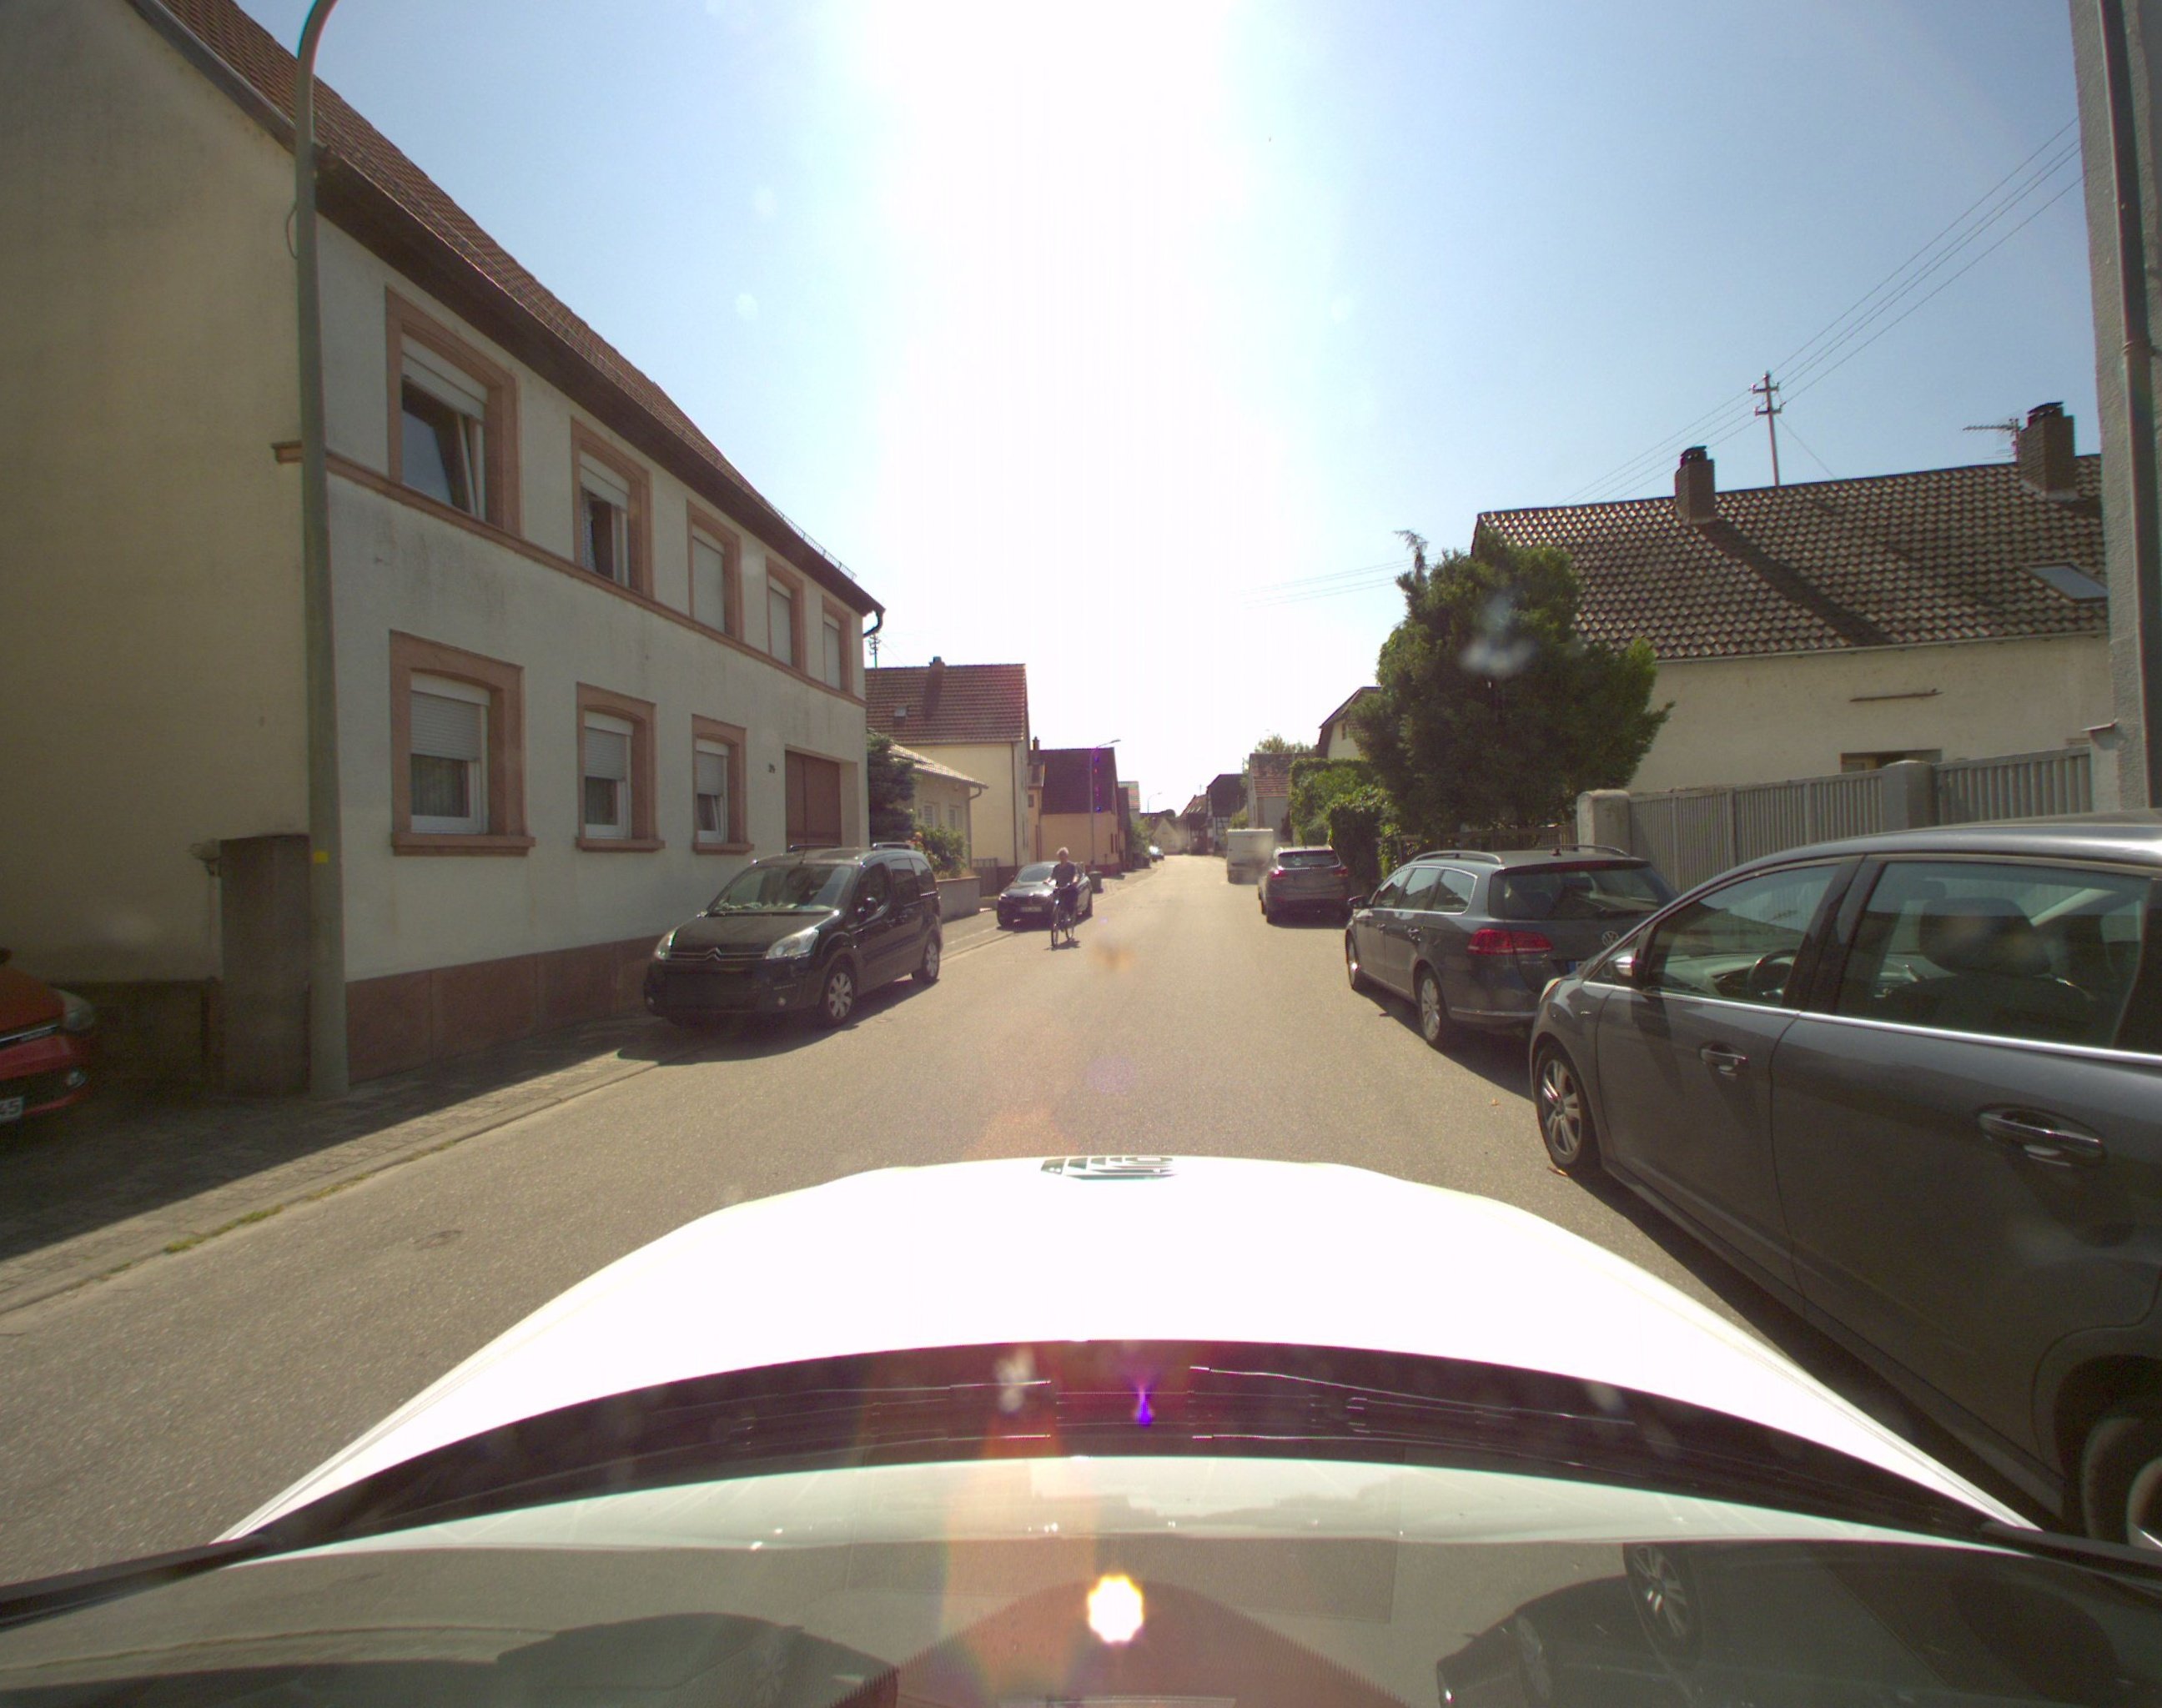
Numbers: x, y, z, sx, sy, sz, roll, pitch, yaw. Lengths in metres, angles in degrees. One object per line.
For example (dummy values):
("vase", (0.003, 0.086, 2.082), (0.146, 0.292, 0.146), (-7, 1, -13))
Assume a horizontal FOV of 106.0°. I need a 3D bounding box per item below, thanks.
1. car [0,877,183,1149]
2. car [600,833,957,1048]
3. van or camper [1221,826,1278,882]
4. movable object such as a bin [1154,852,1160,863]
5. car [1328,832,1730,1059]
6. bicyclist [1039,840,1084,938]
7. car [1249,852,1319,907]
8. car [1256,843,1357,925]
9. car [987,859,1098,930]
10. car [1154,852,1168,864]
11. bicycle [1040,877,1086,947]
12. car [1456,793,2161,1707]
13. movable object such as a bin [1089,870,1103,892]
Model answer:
("car", (-7.765, 0.939, 4.740), (3.722, 1.458, 1.680), (-2, 0, 11))
("car", (-3.009, 0.770, 9.282), (1.824, 1.837, 4.365), (-2, 0, 9))
("van or camper", (8.722, 0.003, 42.568), (2.508, 2.697, 4.565), (-2, 0, 8))
("movable object such as a bin", (8.789, 0.421, 94.122), (0.685, 1.185, 0.716), (-3, 0, 8))
("car", (3.738, 0.641, 7.869), (1.809, 1.508, 4.591), (-2, 0, 7))
("bicyclist", (-0.366, 0.639, 15.272), (0.700, 1.771, 0.625), (-2, 0, 5))
("car", (6.116, 0.704, 24.885), (1.702, 1.464, 4.076), (-3, 0, 10))
("car", (5.113, 0.598, 18.953), (1.783, 1.631, 4.373), (-3, 0, 10))
("car", (-0.828, 0.930, 20.819), (1.833, 1.527, 4.777), (-2, 0, 9))
("car", (10.455, 0.503, 106.497), (1.503, 1.436, 3.519), (-3, 0, 8))
("bicycle", (-0.307, 1.042, 15.266), (0.586, 1.148, 1.951), (-3, 0, 5))
("car", (2.892, 0.643, 2.676), (1.787, 1.560, 4.643), (-2, 0, 9))
("movable object such as a bin", (0.677, 1.179, 35.987), (0.536, 0.949, 0.554), (-1, 0, 8))
